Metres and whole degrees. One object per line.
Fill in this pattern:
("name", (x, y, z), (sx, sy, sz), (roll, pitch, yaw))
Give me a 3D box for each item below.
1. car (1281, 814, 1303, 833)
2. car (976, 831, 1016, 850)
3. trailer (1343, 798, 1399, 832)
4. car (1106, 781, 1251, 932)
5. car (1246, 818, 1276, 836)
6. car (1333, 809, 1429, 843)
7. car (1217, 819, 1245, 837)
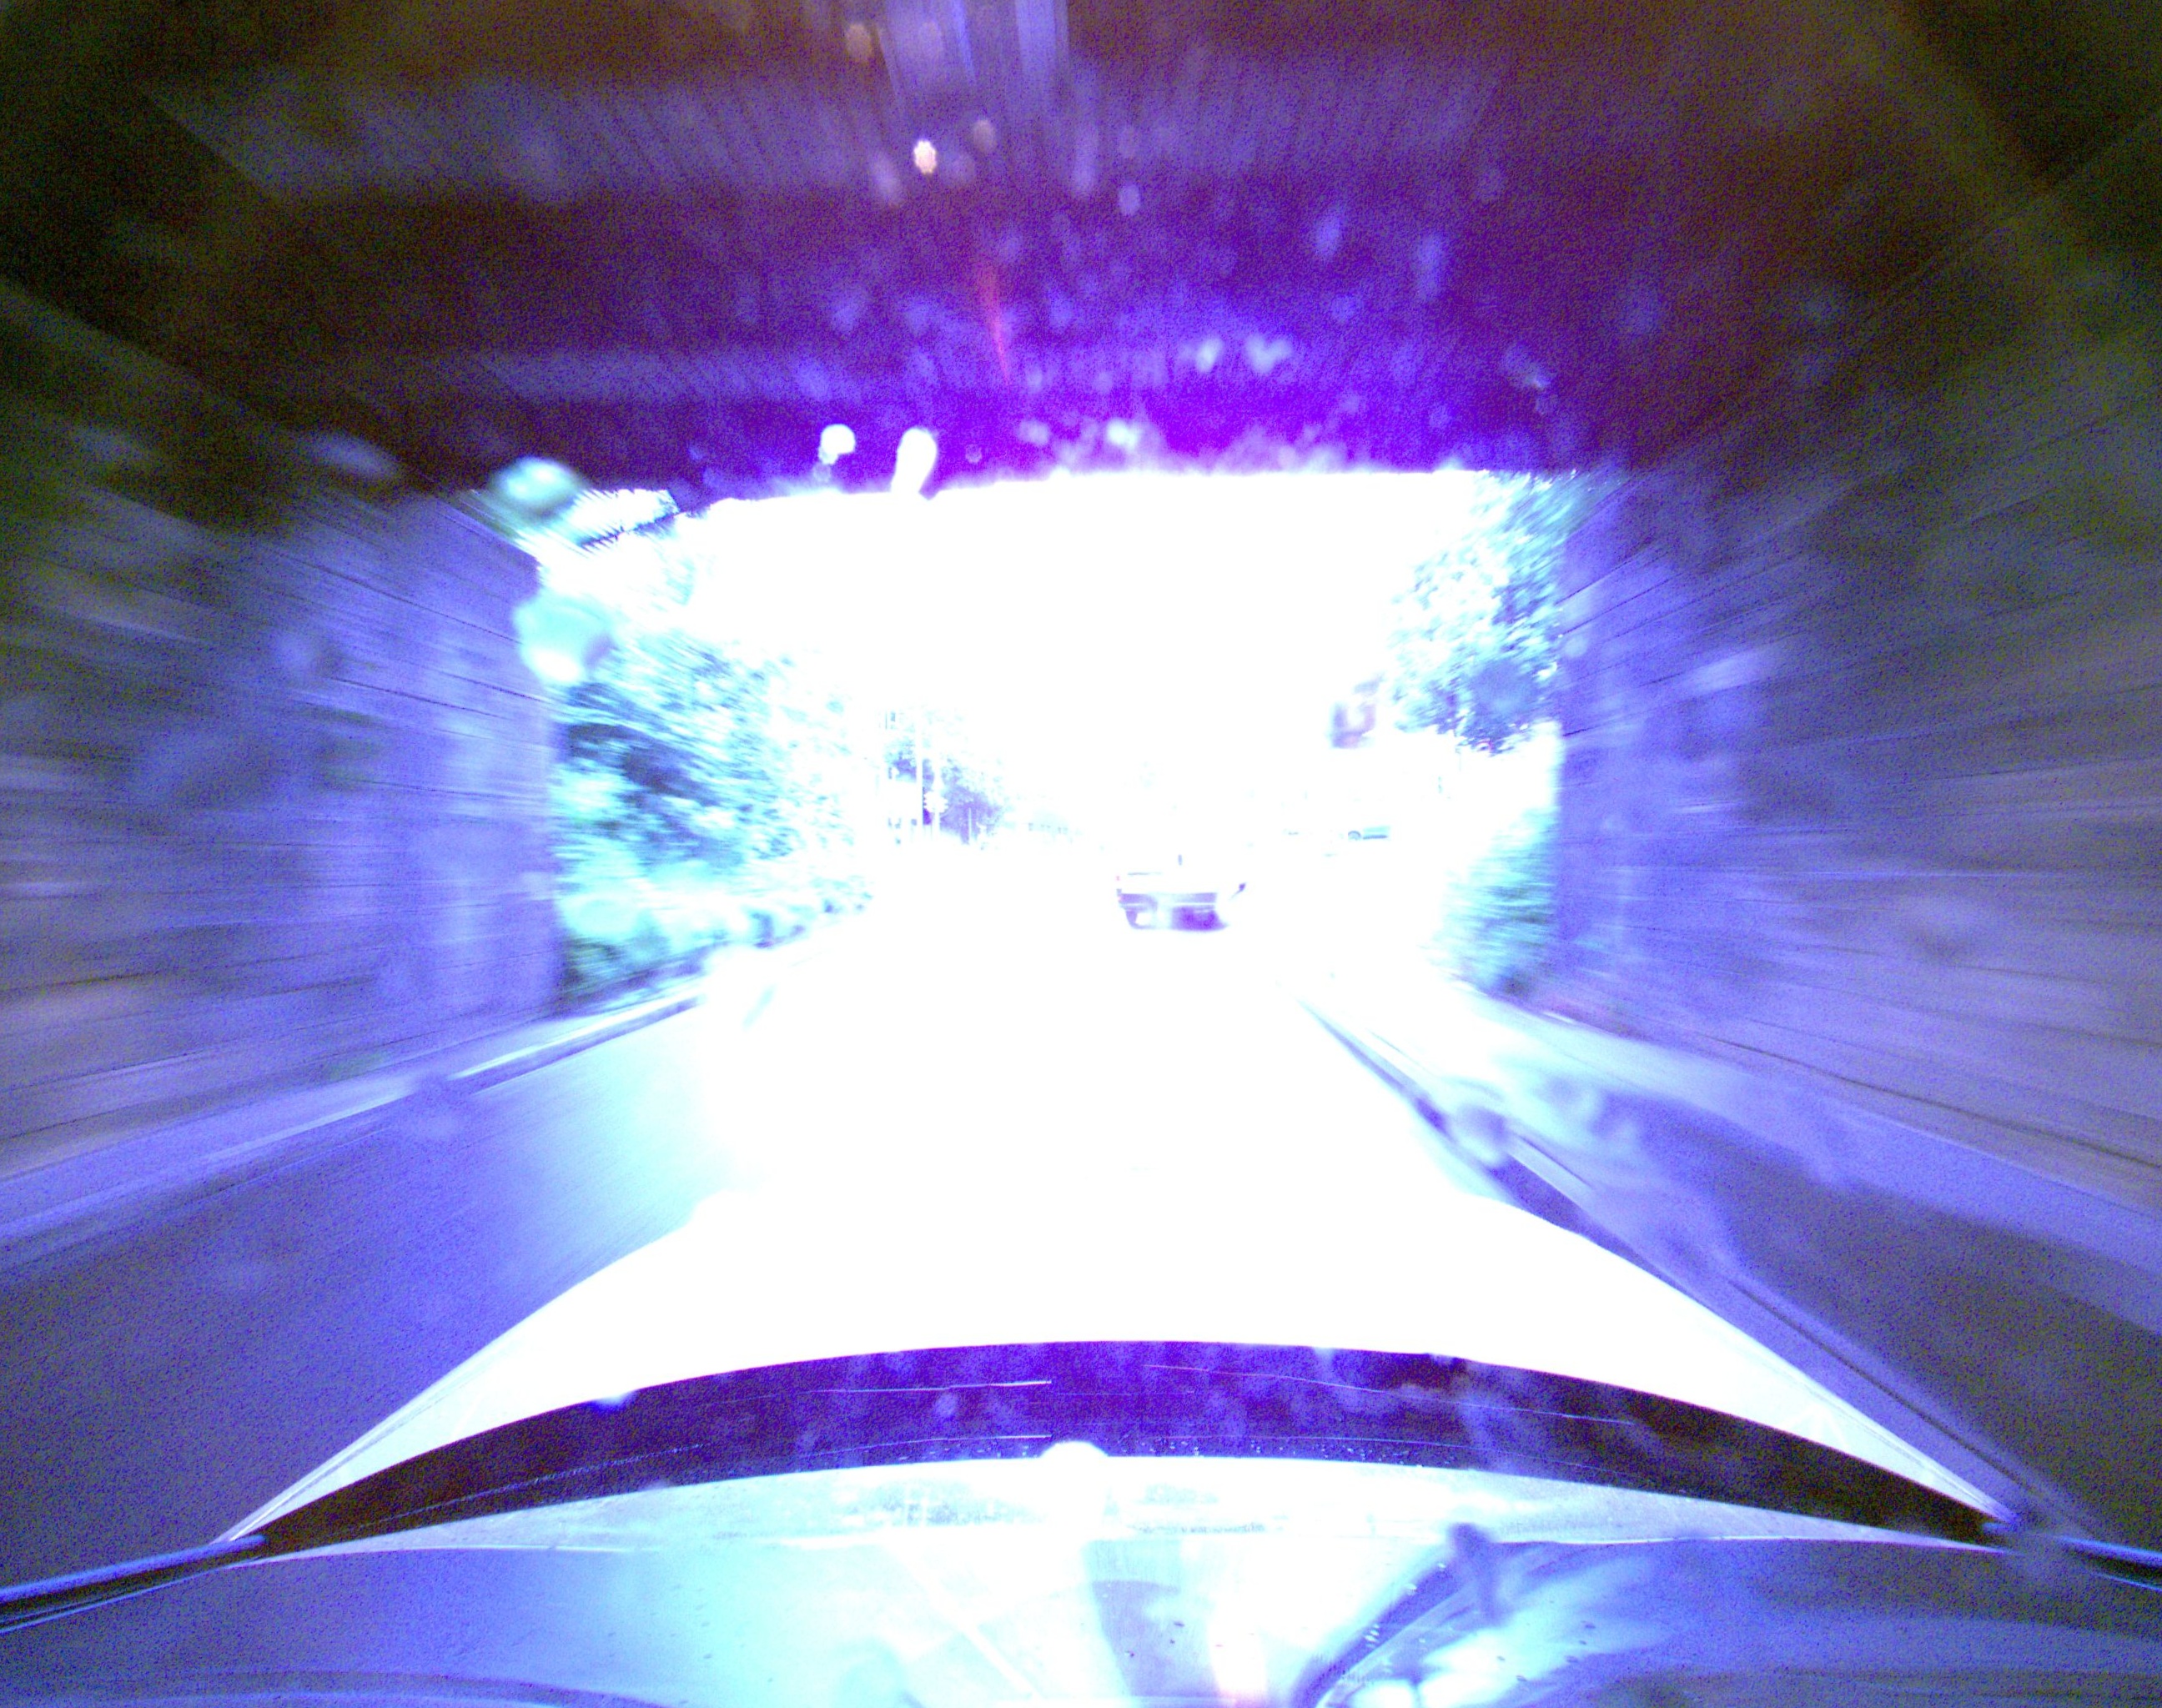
("car", (16.514, -2.397, 63.815), (1.218, 1.424, 2.690), (-1, 2, 4))
("car", (-7.514, -1.219, 72.551), (2.012, 1.599, 4.401), (-1, 2, 16))
("trailer", (23.881, -3.157, 67.313), (2.378, 2.428, 7.125), (0, 0, 3))
("car", (2.129, -0.106, 16.167), (2.034, 2.515, 4.966), (-1, 3, 16))
("car", (14.103, -2.114, 64.007), (1.728, 1.368, 3.628), (-1, 2, 4))
("car", (18.343, -1.703, 49.932), (5.130, 1.818, 1.942), (-2, -1, 4))
("car", (11.925, -2.074, 64.931), (1.859, 1.368, 3.628), (-1, 2, 4))
